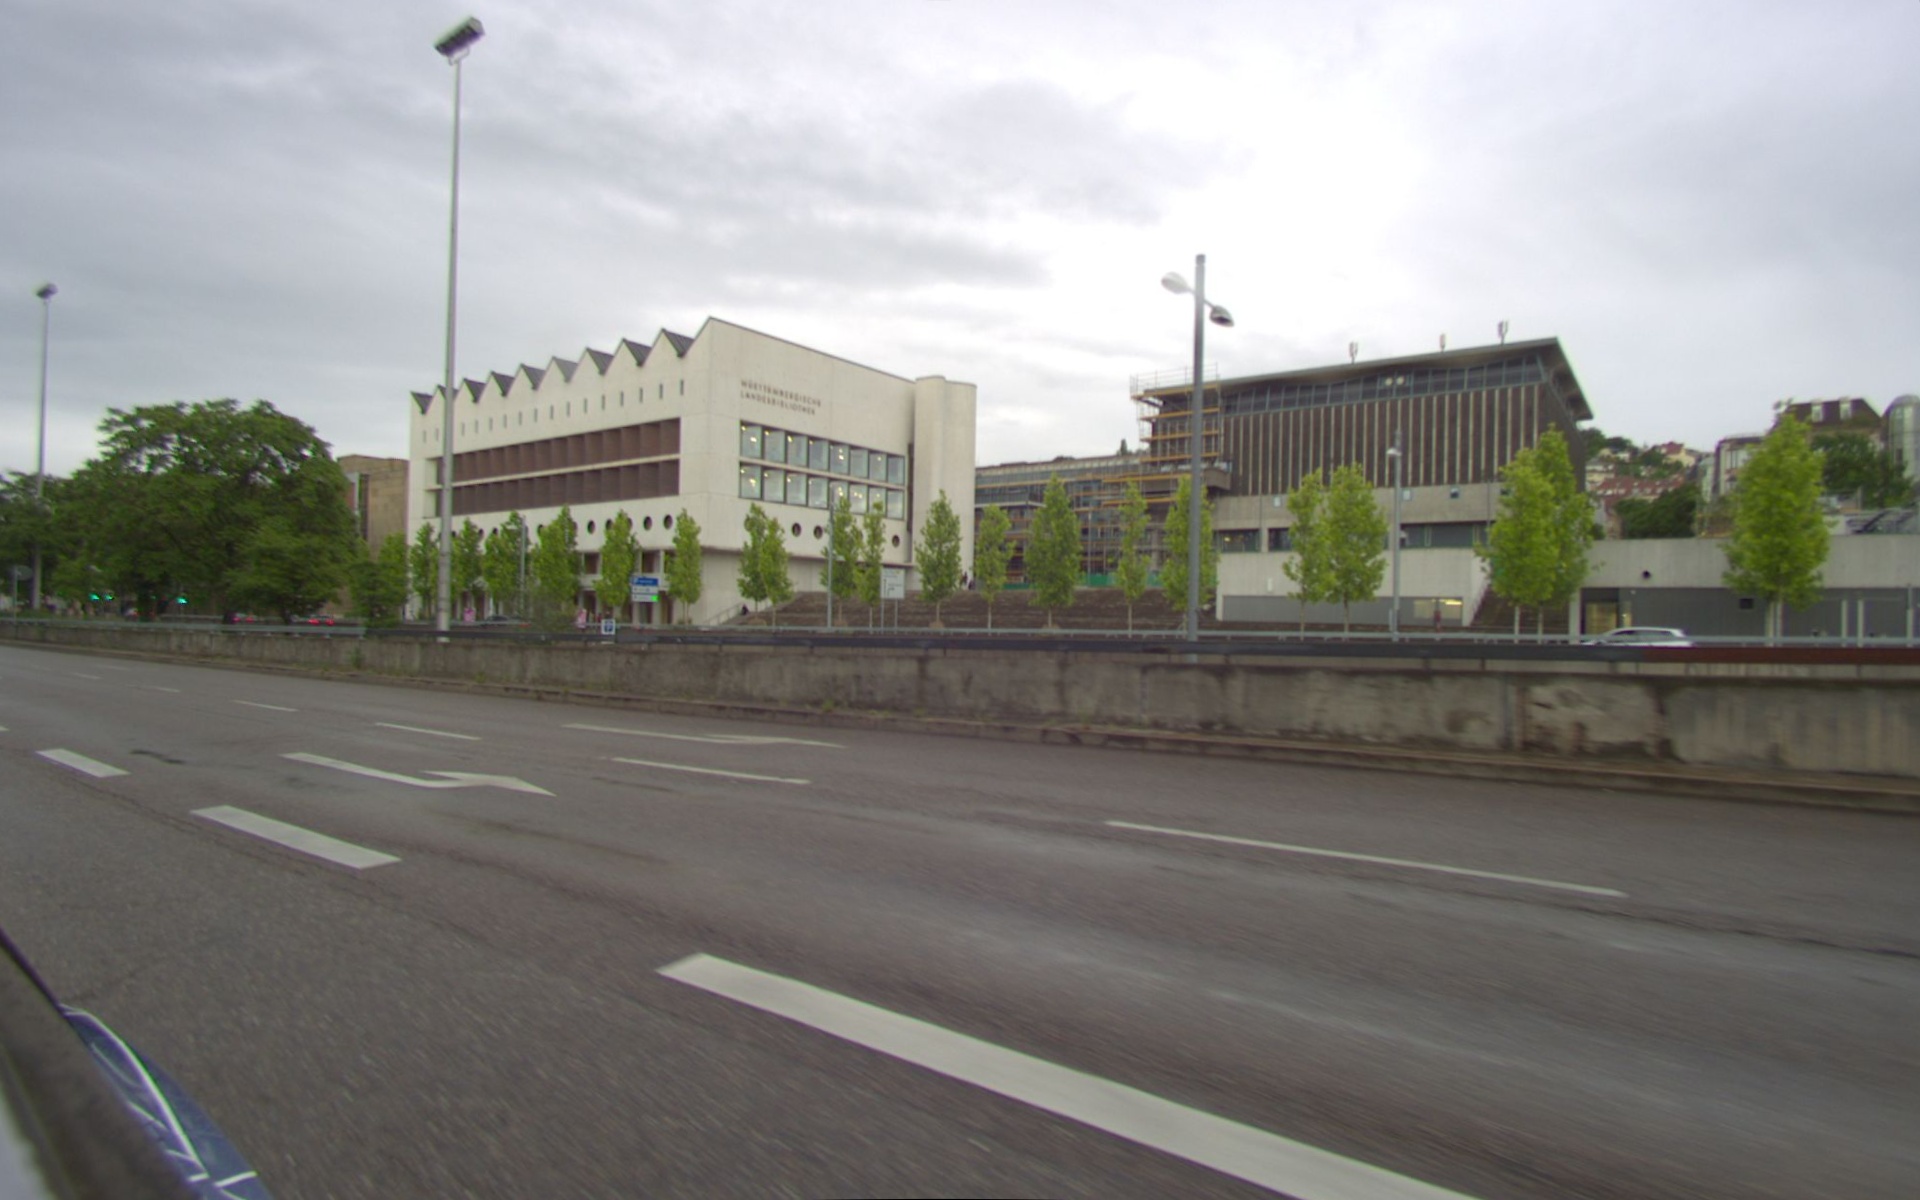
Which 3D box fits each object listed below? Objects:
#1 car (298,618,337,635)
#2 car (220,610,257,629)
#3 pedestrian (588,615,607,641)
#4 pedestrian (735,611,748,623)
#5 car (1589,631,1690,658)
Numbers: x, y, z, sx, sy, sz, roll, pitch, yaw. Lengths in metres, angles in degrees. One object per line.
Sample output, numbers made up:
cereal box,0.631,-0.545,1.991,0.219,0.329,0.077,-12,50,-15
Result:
car,-50.139,2.068,78.908,3.538,1.236,1.550,0,0,39
car,-63.707,1.695,89.354,3.468,1.567,1.679,0,0,35
pedestrian,-27.330,2.099,76.284,1.072,1.880,0.831,0,0,-42
pedestrian,-17.471,1.365,81.034,0.628,0.894,0.799,0,0,39
car,20.830,1.351,31.064,2.547,0.751,0.812,0,0,34
